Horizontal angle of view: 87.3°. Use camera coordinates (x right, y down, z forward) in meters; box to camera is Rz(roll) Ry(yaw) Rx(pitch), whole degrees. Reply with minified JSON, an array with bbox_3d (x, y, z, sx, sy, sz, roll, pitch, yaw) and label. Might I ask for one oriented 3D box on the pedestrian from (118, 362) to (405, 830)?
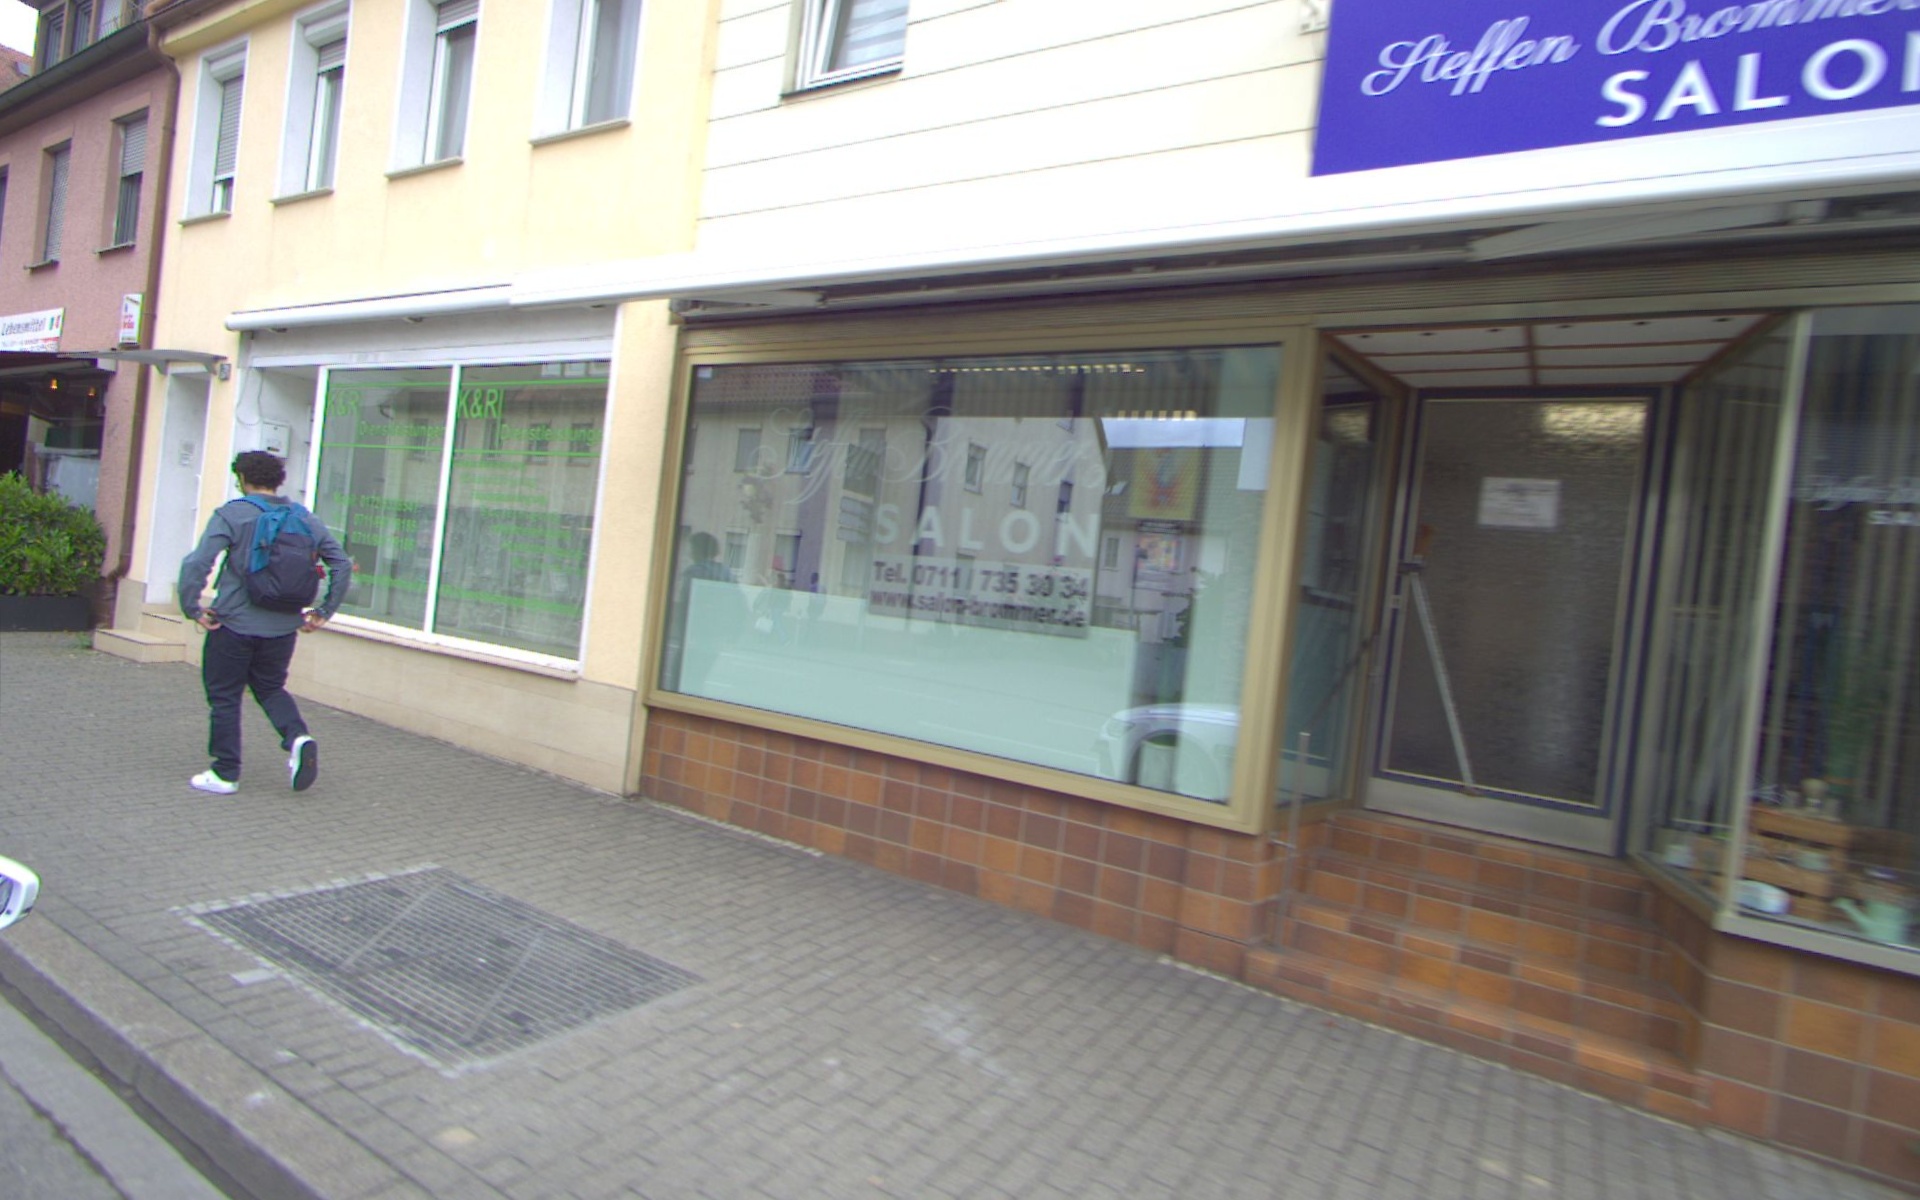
[{"bbox_3d":[-3.558,-0.042,5.124,0.995,2.103,0.823,7,4,34],"label":"pedestrian"}]
